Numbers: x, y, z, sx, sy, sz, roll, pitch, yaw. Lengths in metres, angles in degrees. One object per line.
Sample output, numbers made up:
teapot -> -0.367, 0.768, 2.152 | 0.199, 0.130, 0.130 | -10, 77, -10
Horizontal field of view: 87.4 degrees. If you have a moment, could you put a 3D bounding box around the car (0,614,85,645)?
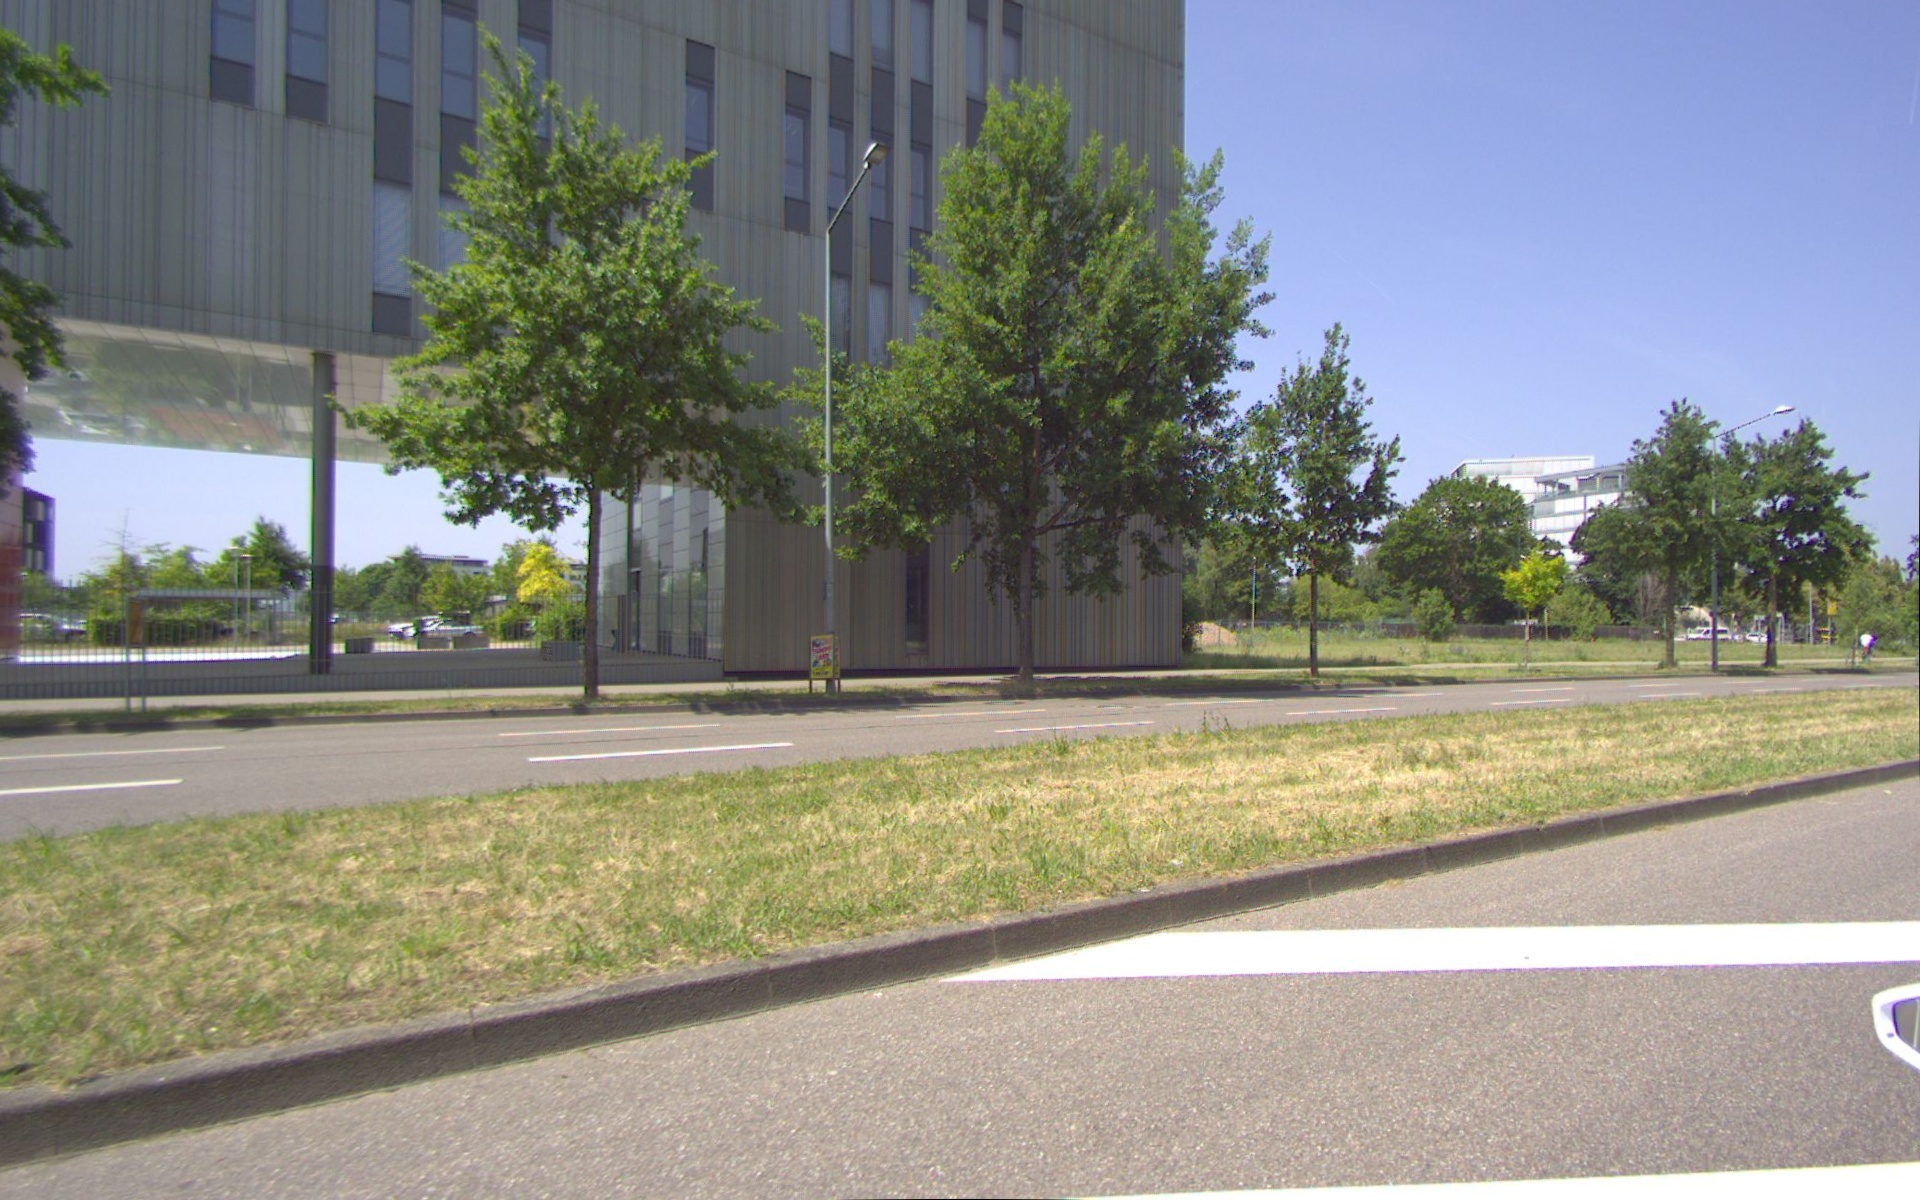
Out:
car -> -43.068, 1.347, 46.173 | 3.953, 1.405, 1.984 | 1, -1, -30

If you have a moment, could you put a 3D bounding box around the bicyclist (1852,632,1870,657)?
bicyclist -> 55.019, 2.738, 61.349 | 0.747, 1.509, 0.620 | 1, -1, -28

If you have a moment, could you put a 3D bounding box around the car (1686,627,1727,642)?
car -> 104.561, 4.831, 140.726 | 4.205, 1.903, 2.000 | 1, -1, -1

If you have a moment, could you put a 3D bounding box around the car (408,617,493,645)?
car -> -30.568, 1.839, 60.362 | 4.464, 1.603, 2.016 | 1, -1, -27

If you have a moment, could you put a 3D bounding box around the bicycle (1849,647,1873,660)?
bicycle -> 55.014, 3.257, 61.318 | 1.827, 0.725, 0.479 | 1, -1, -28

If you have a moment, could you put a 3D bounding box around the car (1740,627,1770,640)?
car -> 131.001, 5.553, 165.561 | 3.939, 1.838, 1.994 | 0, -9, 39

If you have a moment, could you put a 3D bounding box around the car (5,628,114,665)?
car -> -44.586, 2.280, 49.848 | 3.730, 1.719, 1.649 | 1, -1, -30
